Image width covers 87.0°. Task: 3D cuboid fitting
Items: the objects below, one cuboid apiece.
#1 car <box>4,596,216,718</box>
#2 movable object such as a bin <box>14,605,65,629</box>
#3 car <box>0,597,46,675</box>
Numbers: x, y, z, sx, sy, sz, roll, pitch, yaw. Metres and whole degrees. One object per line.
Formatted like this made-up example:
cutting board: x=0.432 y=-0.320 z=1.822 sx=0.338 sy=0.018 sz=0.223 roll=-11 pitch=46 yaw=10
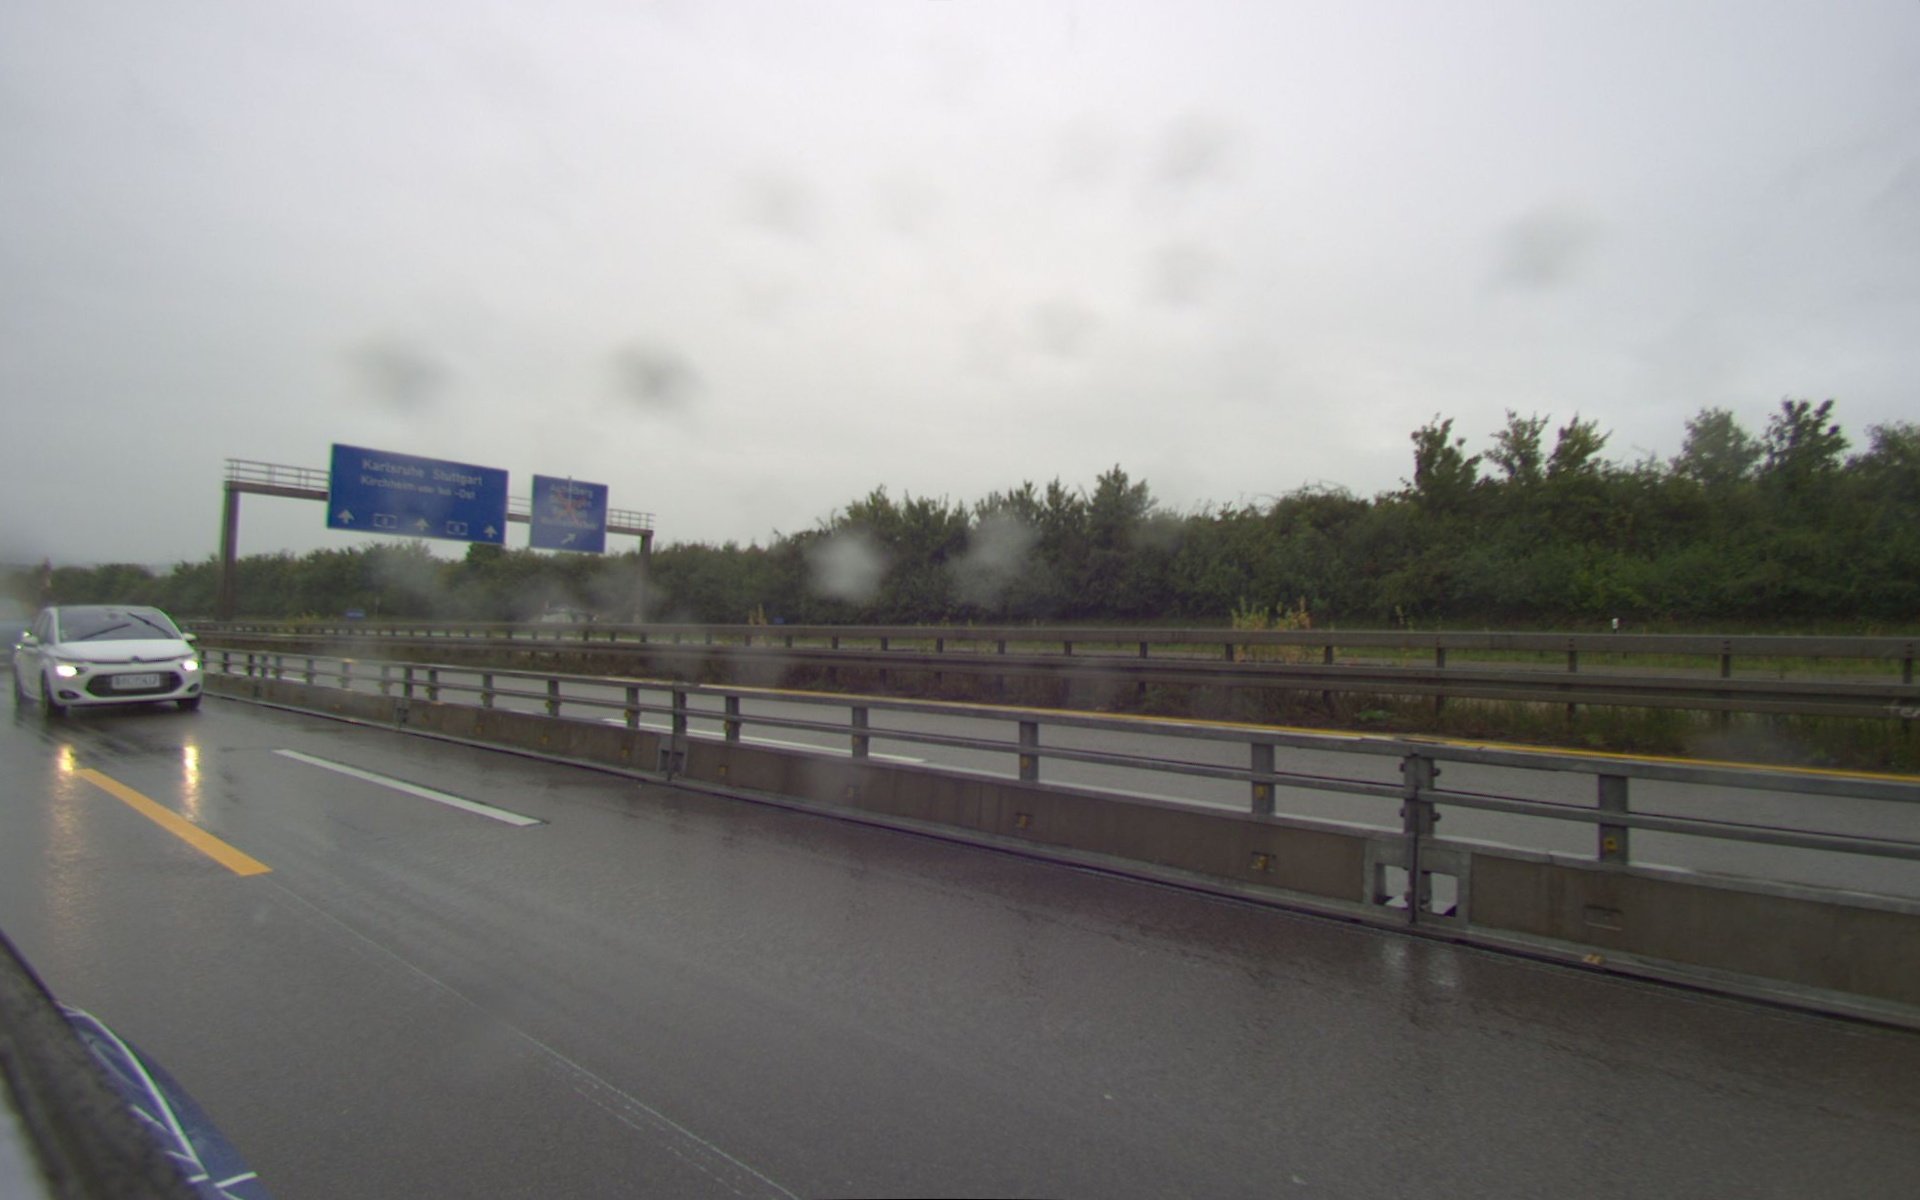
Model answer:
car: x=-13.168 y=0.826 z=15.587 sx=4.308 sy=1.608 sz=1.952 roll=-2 pitch=-2 yaw=42
movable object such as a bin: x=-114.631 y=2.075 z=125.985 sx=6.321 sy=2.819 sz=3.729 roll=-1 pitch=0 yaw=38
car: x=-27.105 y=0.954 z=27.926 sx=5.562 sy=2.029 sz=2.183 roll=-1 pitch=0 yaw=42
